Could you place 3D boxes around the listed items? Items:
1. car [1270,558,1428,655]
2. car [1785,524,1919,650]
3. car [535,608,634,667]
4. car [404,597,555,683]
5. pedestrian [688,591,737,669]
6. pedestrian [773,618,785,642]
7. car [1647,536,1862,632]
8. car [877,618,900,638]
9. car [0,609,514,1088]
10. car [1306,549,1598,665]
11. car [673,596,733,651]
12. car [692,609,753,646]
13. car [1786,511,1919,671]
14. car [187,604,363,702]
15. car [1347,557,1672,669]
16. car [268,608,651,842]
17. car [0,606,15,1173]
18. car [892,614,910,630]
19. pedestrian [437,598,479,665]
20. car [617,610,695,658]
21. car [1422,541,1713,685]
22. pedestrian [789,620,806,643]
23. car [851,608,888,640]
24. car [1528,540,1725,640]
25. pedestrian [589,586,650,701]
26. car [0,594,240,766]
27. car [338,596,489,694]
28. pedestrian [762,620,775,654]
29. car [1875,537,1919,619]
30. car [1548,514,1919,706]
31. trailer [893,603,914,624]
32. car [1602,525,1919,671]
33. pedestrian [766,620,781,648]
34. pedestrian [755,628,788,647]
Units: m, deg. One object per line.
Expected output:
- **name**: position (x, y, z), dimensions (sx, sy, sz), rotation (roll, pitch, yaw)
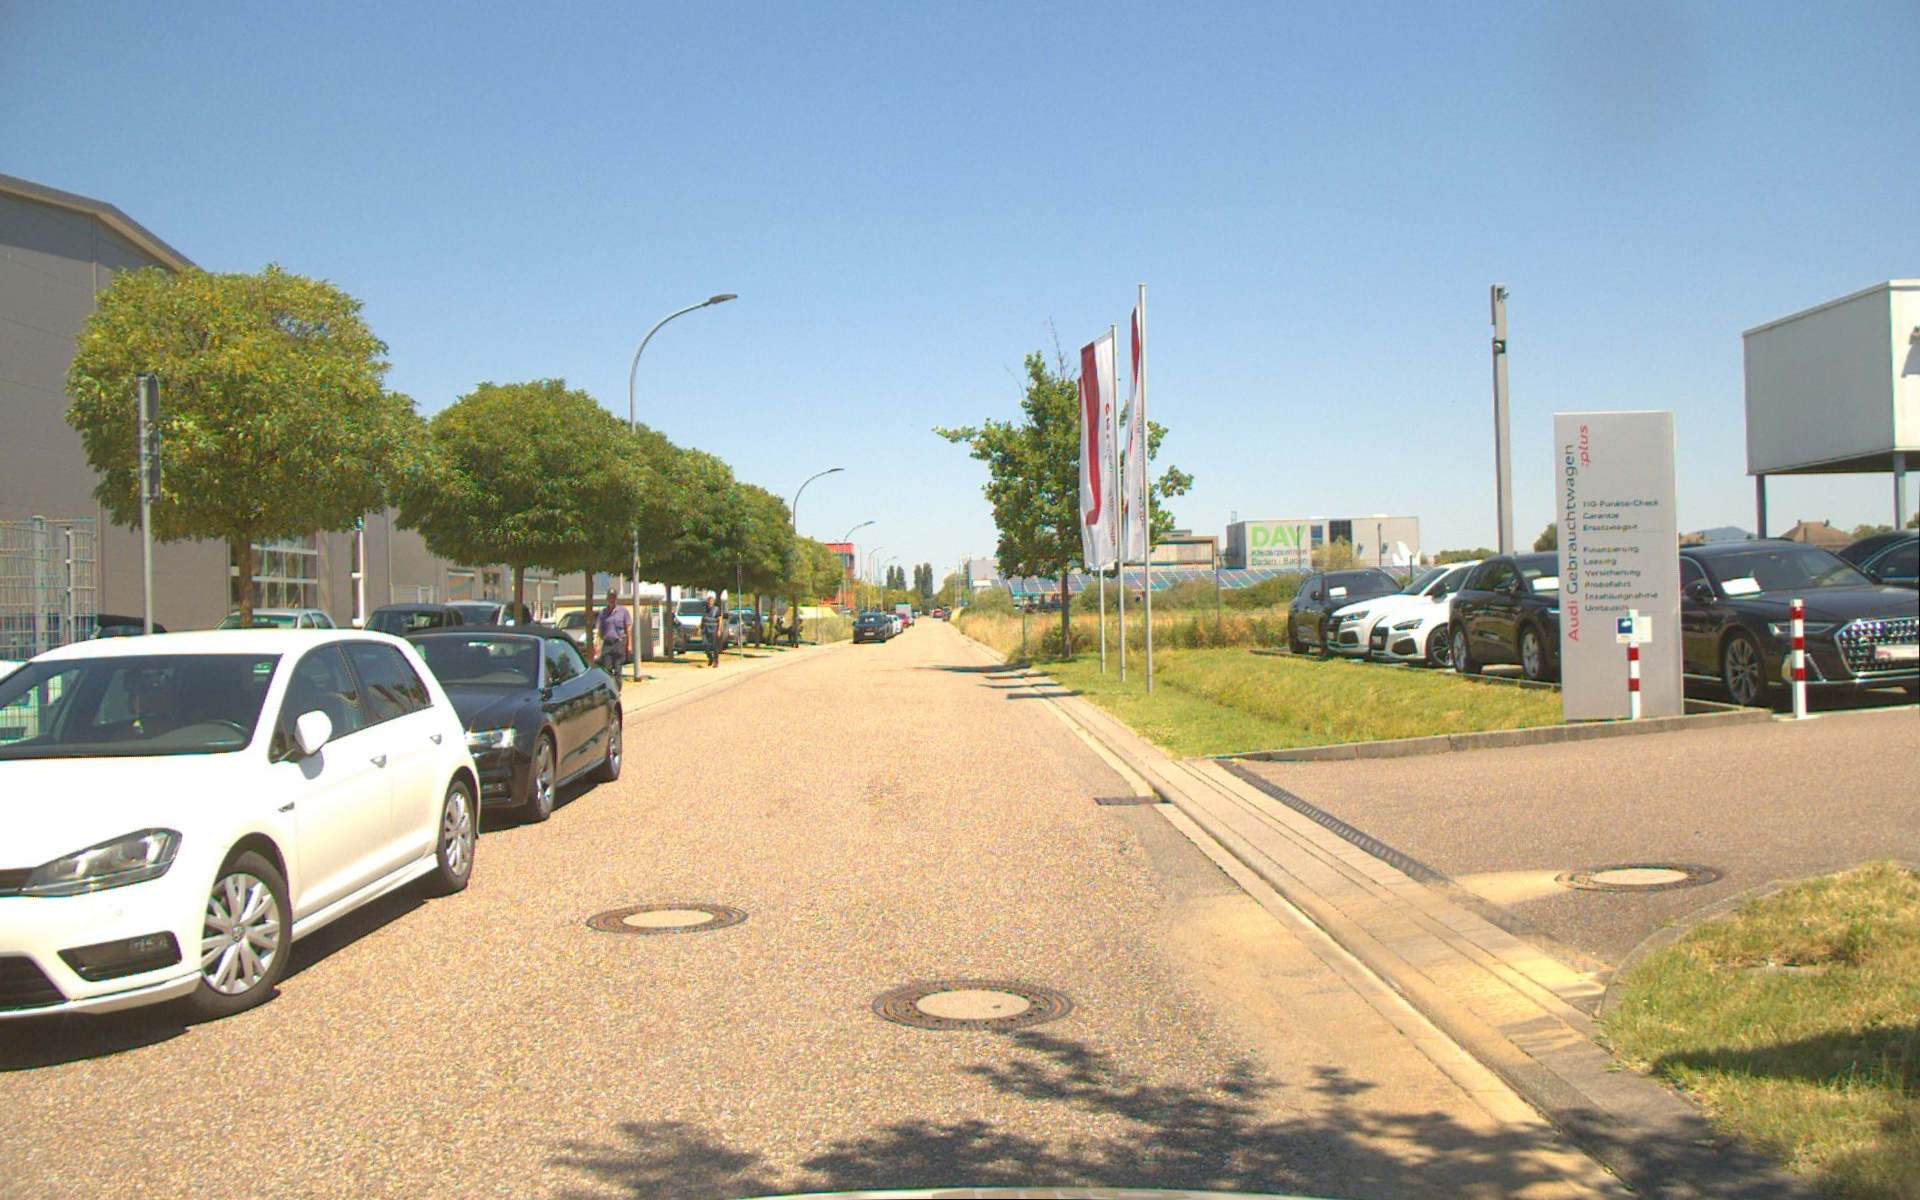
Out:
- **car**: position (7.806, 0.130, 33.719), dimensions (1.983, 1.722, 5.108), rotation (-3, 0, 0)
- **car**: position (13.293, -0.208, 22.171), dimensions (1.984, 1.617, 4.778), rotation (-3, 0, -1)
- **car**: position (-9.928, 0.969, 43.987), dimensions (1.729, 1.479, 3.839), rotation (0, 0, 0)
- **car**: position (-9.529, 0.768, 33.179), dimensions (1.729, 1.601, 4.539), rotation (0, 0, 0)
- **pedestrian**: position (-6.412, 0.767, 42.806), dimensions (0.827, 2.007, 0.960), rotation (0, -1, 39)
- **pedestrian**: position (-9.054, 1.500, 82.835), dimensions (0.495, 1.212, 0.753), rotation (1, -1, 1)
- **car**: position (15.898, -0.287, 33.406), dimensions (1.983, 1.709, 4.809), rotation (-3, 0, 0)
- **car**: position (-5.696, 2.228, 132.108), dimensions (1.750, 1.547, 3.981), rotation (-2, 0, -1)
- **car**: position (-3.486, 0.837, 7.467), dimensions (1.787, 1.526, 4.258), rotation (-2, 0, -1)
- **car**: position (8.566, 0.123, 29.069), dimensions (4.439, 1.722, 2.030), rotation (-3, 0, -3)
- **car**: position (-10.058, 0.916, 65.017), dimensions (1.800, 2.054, 5.122), rotation (1, 0, -3)
- **car**: position (-10.141, 1.199, 70.876), dimensions (1.887, 1.466, 4.840), rotation (-2, -2, 0)
- **car**: position (10.530, -0.164, 16.337), dimensions (1.858, 1.600, 5.474), rotation (-5, 0, -1)
- **car**: position (-11.413, 0.849, 27.794), dimensions (1.649, 1.526, 3.701), rotation (0, 0, -5)
- **car**: position (8.691, 0.206, 26.407), dimensions (4.439, 1.482, 2.030), rotation (-3, 0, -3)
- **car**: position (-3.818, 0.859, 13.499), dimensions (1.787, 1.526, 4.524), rotation (-2, 0, -1)
- **car**: position (-3.477, 0.796, 2.253), dimensions (1.787, 1.526, 4.519), rotation (-2, 0, -1)
- **car**: position (-6.155, 2.315, 172.189), dimensions (1.750, 1.547, 3.981), rotation (-2, -1, -1)
- **pedestrian**: position (-13.314, 0.828, 43.853), dimensions (0.823, 1.743, 0.964), rotation (0, -1, -1)
- **car**: position (-9.917, 1.075, 54.265), dimensions (1.730, 1.479, 4.713), rotation (-1, 0, -1)
- **car**: position (7.830, 0.169, 21.896), dimensions (1.984, 1.601, 4.778), rotation (-3, 0, -1)
- **pedestrian**: position (-8.025, 1.534, 81.729), dimensions (0.735, 1.118, 0.646), rotation (1, -1, 3)
- **car**: position (-4.887, 1.279, 89.487), dimensions (1.888, 1.595, 4.188), rotation (-2, 0, -2)
- **car**: position (13.297, -0.172, 33.338), dimensions (1.983, 1.755, 4.809), rotation (-3, 0, 0)
- **pedestrian**: position (-5.557, 0.700, 27.041), dimensions (0.729, 1.833, 1.135), rotation (1, -1, 1)
- **car**: position (-9.205, 0.708, 16.837), dimensions (1.787, 1.526, 4.328), rotation (1, 0, 1)
- **car**: position (-9.265, 0.723, 28.316), dimensions (1.650, 1.526, 3.700), rotation (-1, 0, -6)
- **pedestrian**: position (-9.397, 1.815, 81.261), dimensions (0.495, 1.623, 0.753), rotation (1, -1, 1)
- **car**: position (20.812, -0.512, 33.394), dimensions (1.983, 1.683, 4.809), rotation (-3, 0, 0)
- **car**: position (7.956, 0.073, 16.764), dimensions (1.984, 1.540, 5.238), rotation (-5, 0, -1)
- **trailer**: position (-6.240, 1.518, 183.502), dimensions (2.156, 2.175, 4.284), rotation (-2, -1, -1)
- **car**: position (10.462, -0.017, 21.853), dimensions (1.984, 1.617, 4.778), rotation (-3, 0, -1)
- **pedestrian**: position (-8.022, 1.472, 71.235), dimensions (0.468, 1.170, 0.555), rotation (1, -3, 9)
- **pedestrian**: position (-8.324, 1.649, 73.056), dimensions (1.330, 0.762, 0.753), rotation (2, -1, 1)
